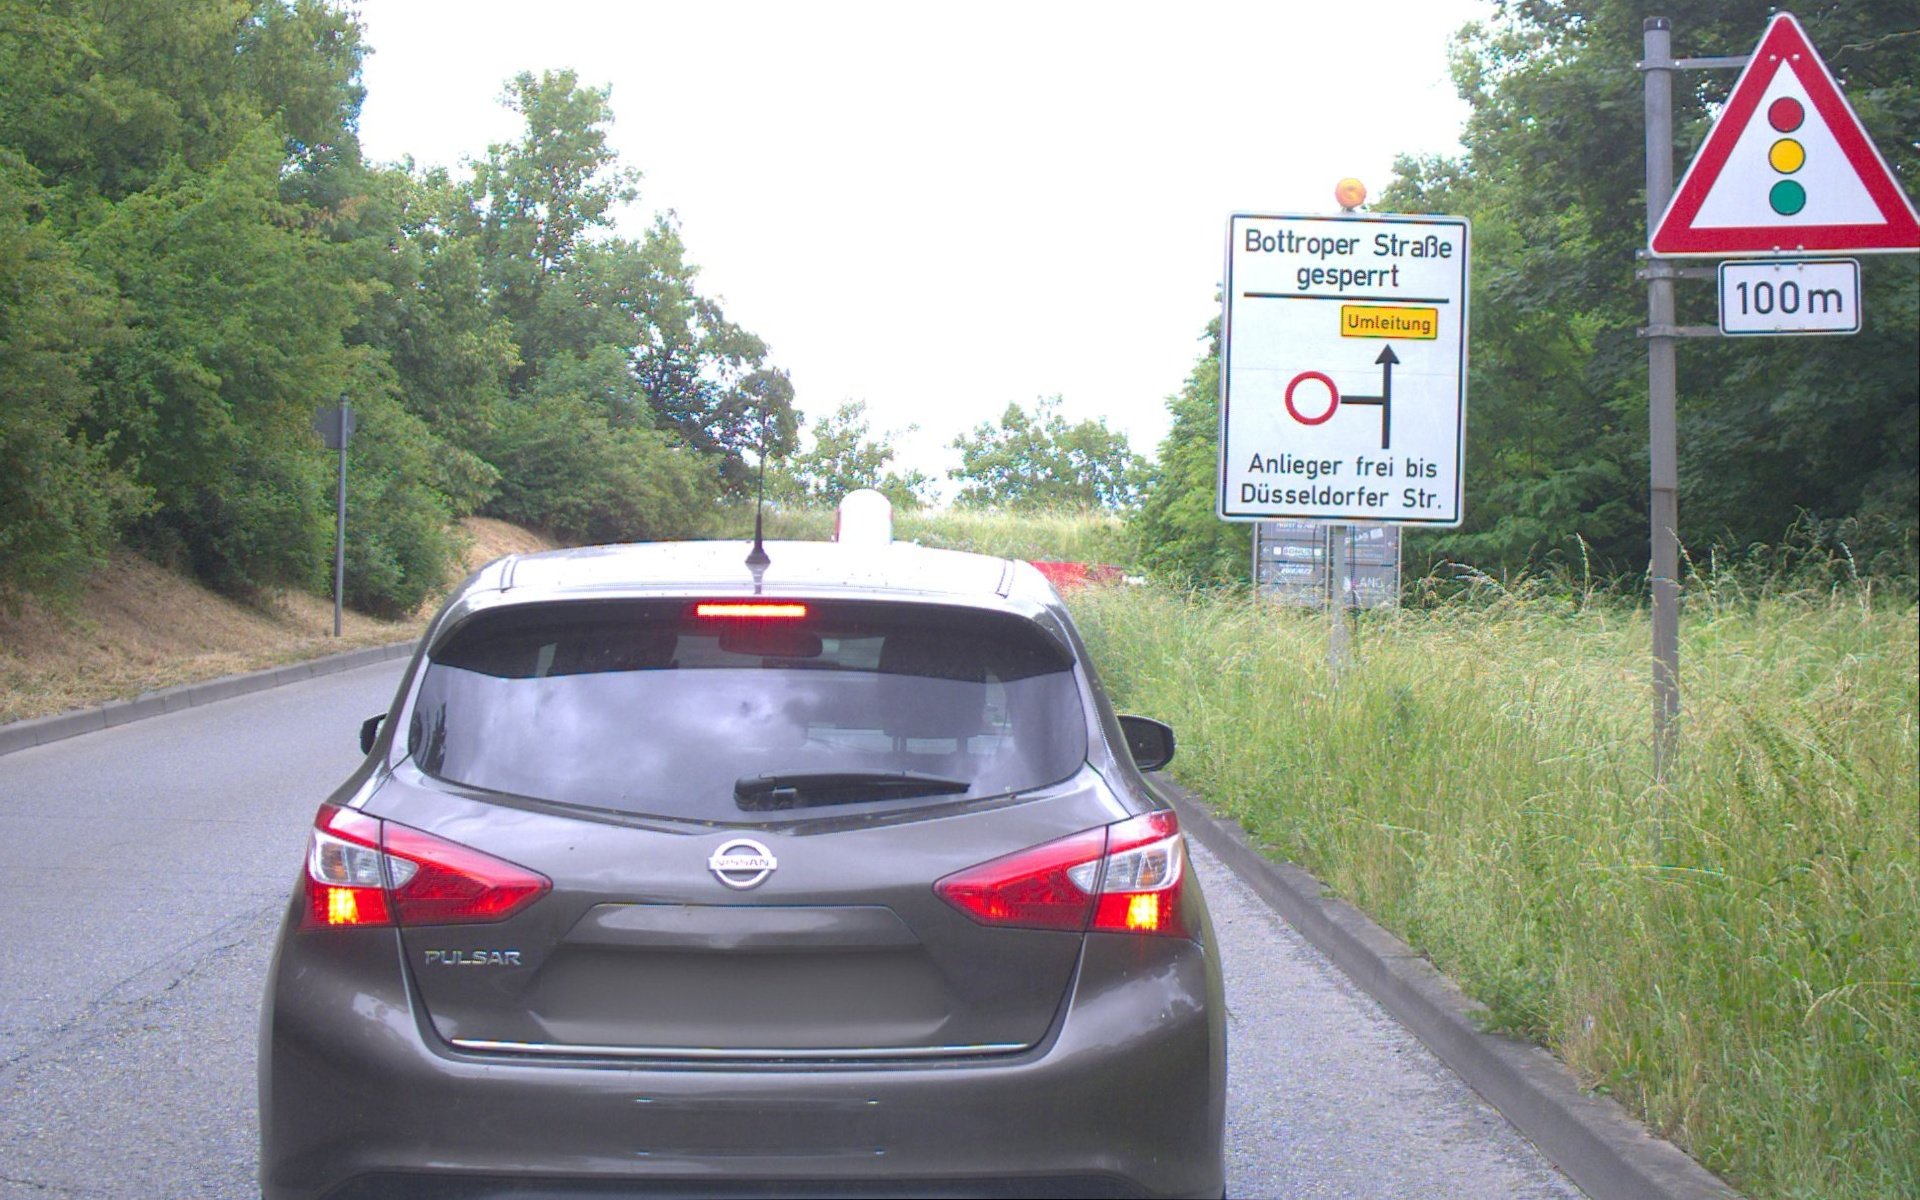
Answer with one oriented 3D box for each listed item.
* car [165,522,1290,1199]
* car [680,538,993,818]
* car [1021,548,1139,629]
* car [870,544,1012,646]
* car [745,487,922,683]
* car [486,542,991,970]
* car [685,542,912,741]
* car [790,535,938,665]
[{"bbox_3d":[-0.444,0.626,7.374,1.830,1.551,3.500,0,1,-2],"label":"car"},{"bbox_3d":[-0.696,0.405,20.921,1.736,1.551,3.543,0,1,0],"label":"car"},{"bbox_3d":[2.345,-0.241,66.341,1.737,1.521,3.640,0,1,11],"label":"car"},{"bbox_3d":[-0.257,-0.110,53.359,1.736,1.521,3.640,0,1,7],"label":"car"},{"bbox_3d":[-1.303,-0.176,35.701,1.736,1.928,3.544,0,1,-2],"label":"car"},{"bbox_3d":[-0.813,0.539,14.332,1.830,1.551,3.625,0,1,0],"label":"car"},{"bbox_3d":[-1.289,0.293,28.670,1.736,1.551,3.543,0,1,0],"label":"car"},{"bbox_3d":[-1.199,-0.025,42.297,1.736,1.521,3.544,0,1,-2],"label":"car"}]
